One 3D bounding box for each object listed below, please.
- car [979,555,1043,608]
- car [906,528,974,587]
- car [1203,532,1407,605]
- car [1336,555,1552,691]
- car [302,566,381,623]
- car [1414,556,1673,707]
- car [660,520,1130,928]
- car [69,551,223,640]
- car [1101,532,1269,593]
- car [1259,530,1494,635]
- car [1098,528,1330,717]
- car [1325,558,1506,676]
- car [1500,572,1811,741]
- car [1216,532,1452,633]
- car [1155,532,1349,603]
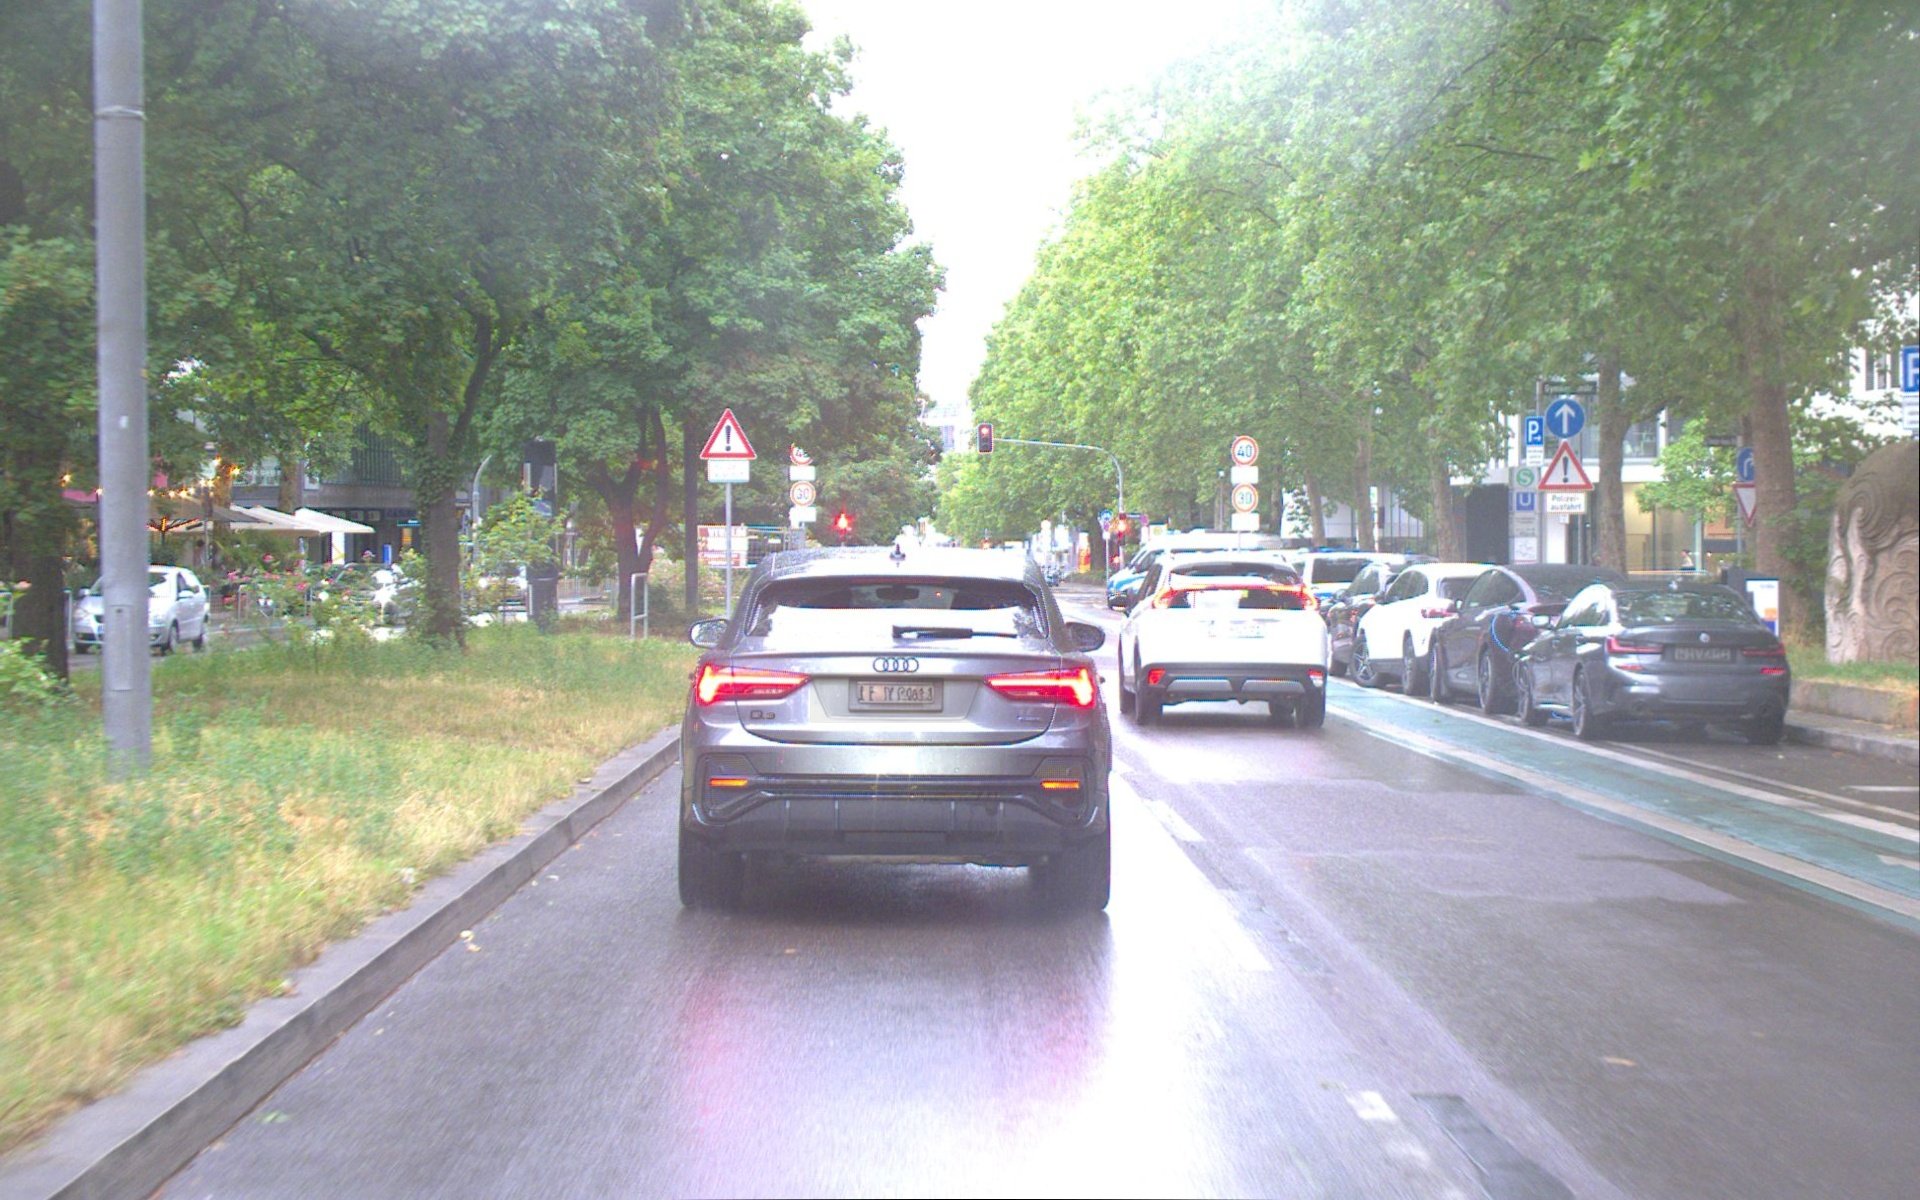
[{"bbox_3d":[1.679,-0.610,114.797,1.993,1.645,4.000,2,0,-1],"label":"car"},{"bbox_3d":[-0.633,-1.298,106.552,1.993,1.721,4.000,2,0,-1],"label":"car"},{"bbox_3d":[8.689,-0.794,86.646,4.645,1.700,1.997,2,0,27],"label":"car"},{"bbox_3d":[5.969,0.268,42.833,1.727,1.566,4.074,2,0,-5],"label":"car"},{"bbox_3d":[-14.406,-0.130,80.171,1.688,1.253,3.645,2,0,-9],"label":"car"},{"bbox_3d":[6.393,0.325,38.143,1.867,1.515,4.559,2,0,-3],"label":"car"},{"bbox_3d":[-0.322,0.476,15.718,1.849,1.596,4.000,1,1,-2],"label":"car"},{"bbox_3d":[-13.600,-0.075,57.614,1.649,1.430,3.812,0,0,0],"label":"car"},{"bbox_3d":[6.830,-1.144,104.427,4.645,1.700,1.997,2,0,27],"label":"car"},{"bbox_3d":[9.548,-0.411,78.897,4.889,2.246,1.997,2,0,28],"label":"car"},{"bbox_3d":[2.435,0.204,33.867,1.878,1.691,4.000,2,0,-1],"label":"car"},{"bbox_3d":[6.286,0.223,47.820,1.695,1.518,4.024,2,0,-4],"label":"car"},{"bbox_3d":[6.436,0.476,32.325,1.873,1.416,4.611,2,0,-1],"label":"car"},{"bbox_3d":[7.945,-0.379,73.293,4.602,2.007,1.964,2,0,38],"label":"car"},{"bbox_3d":[7.678,-0.856,90.514,4.645,1.700,1.997,2,0,27],"label":"car"}]
